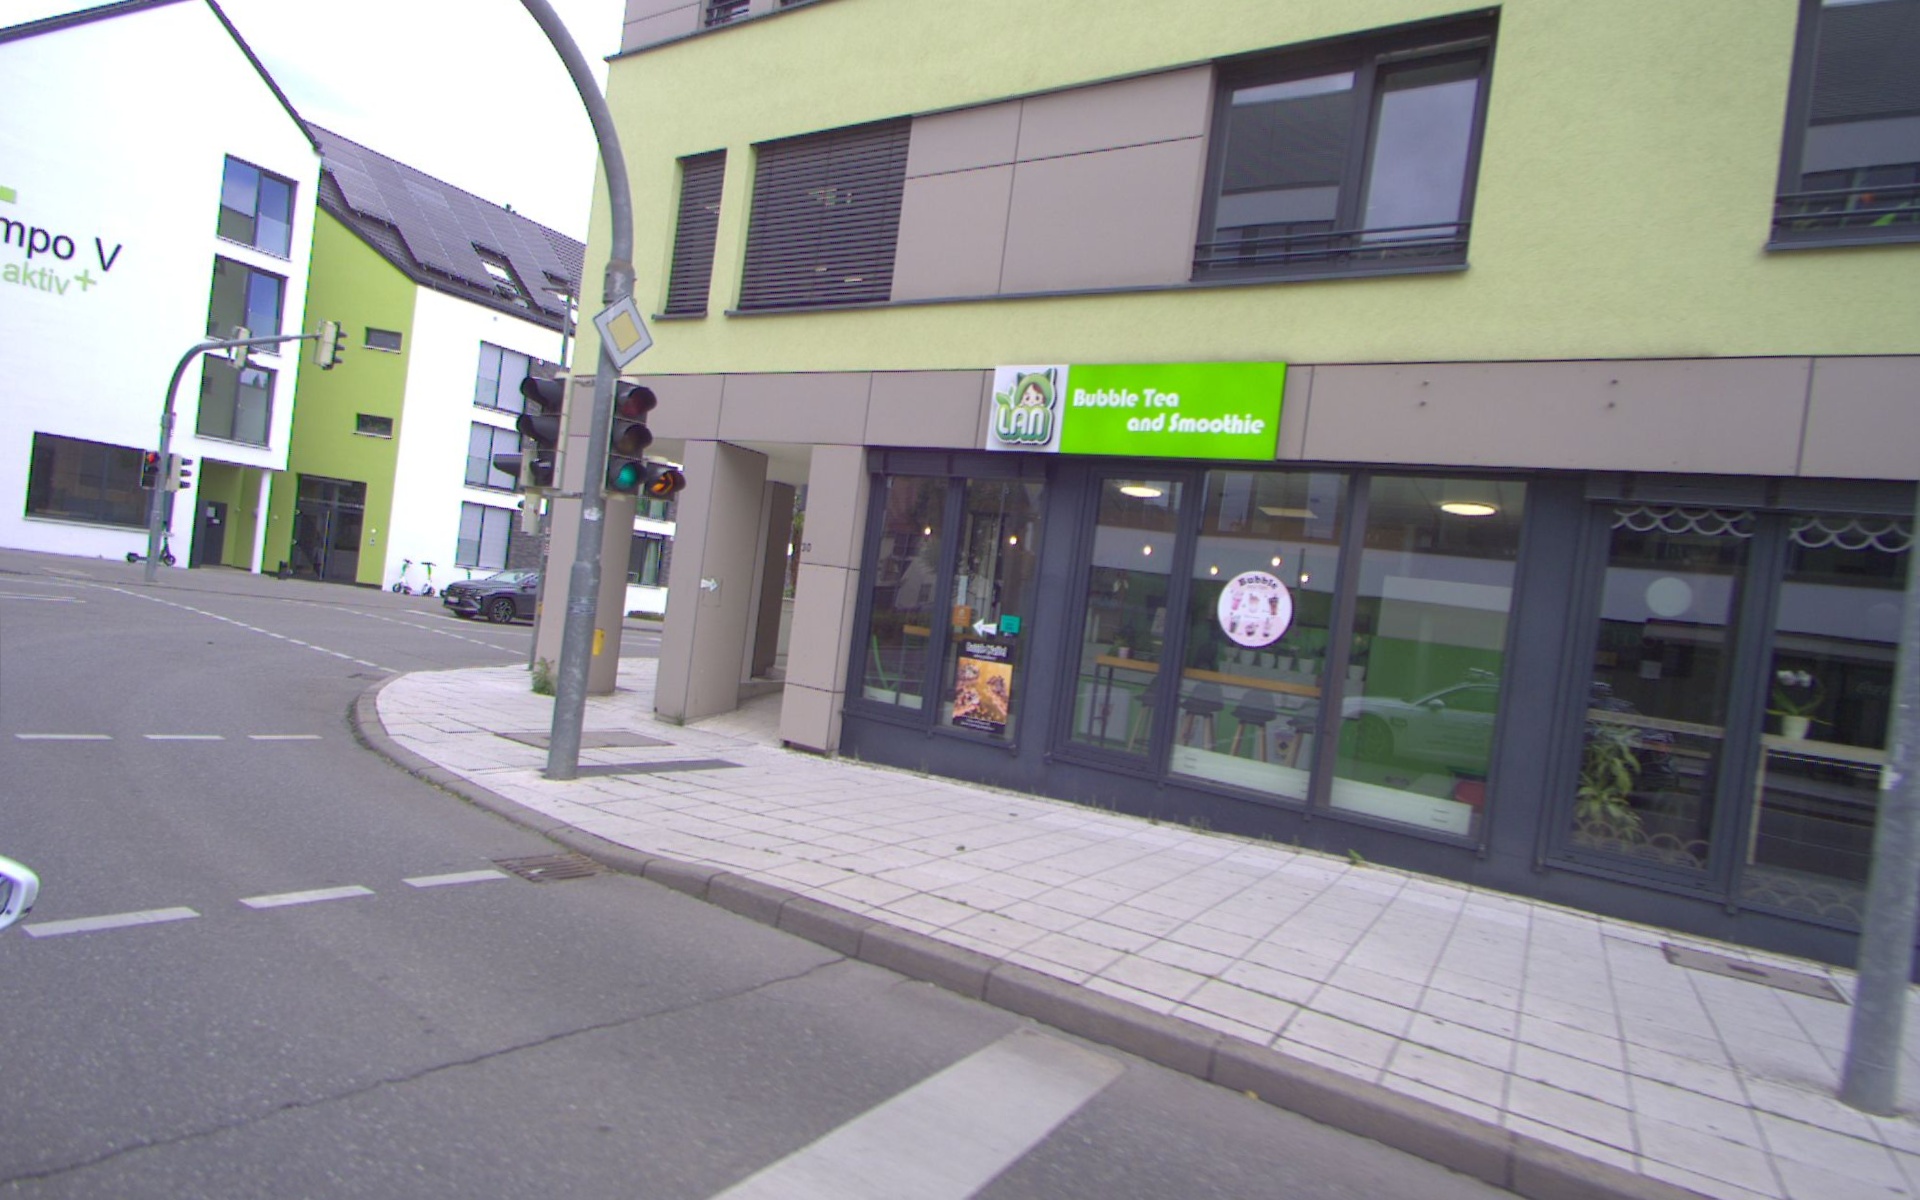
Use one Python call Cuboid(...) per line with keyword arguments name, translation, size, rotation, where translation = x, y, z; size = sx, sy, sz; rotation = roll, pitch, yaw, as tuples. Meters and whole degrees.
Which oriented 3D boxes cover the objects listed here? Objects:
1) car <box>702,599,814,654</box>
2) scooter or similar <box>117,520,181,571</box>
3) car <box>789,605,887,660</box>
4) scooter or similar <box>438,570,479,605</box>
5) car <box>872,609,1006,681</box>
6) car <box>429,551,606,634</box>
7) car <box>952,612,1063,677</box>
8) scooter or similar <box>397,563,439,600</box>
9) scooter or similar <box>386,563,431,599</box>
Cuboid(name="car", translation=(-8.163, 1.121, 41.095), size=(1.778, 1.648, 4.420), rotation=(7, -3, 32))
Cuboid(name="scooter or similar", translation=(-23.156, -1.546, 28.734), size=(0.400, 1.249, 1.233), rotation=(7, -2, 32))
Cuboid(name="car", translation=(-5.517, 1.524, 46.001), size=(1.778, 1.946, 4.628), rotation=(7, -3, 32))
Cuboid(name="scooter or similar", translation=(-17.997, -0.445, 36.137), size=(0.358, 1.091, 1.175), rotation=(7, -2, 35))
Cuboid(name="car", translation=(-0.542, 1.405, 30.405), size=(1.936, 1.633, 4.423), rotation=(7, -3, 29))
Cuboid(name="car", translation=(-12.498, -0.167, 28.636), size=(1.920, 1.677, 4.097), rotation=(7, -3, 32))
Cuboid(name="car", translation=(1.721, 1.586, 34.821), size=(1.936, 1.679, 4.423), rotation=(7, -3, 29))
Cuboid(name="scooter or similar", translation=(-18.532, -0.620, 34.420), size=(0.357, 1.091, 1.233), rotation=(7, -2, 20))
Cuboid(name="scooter or similar", translation=(-19.129, -0.657, 34.920), size=(0.358, 1.091, 1.229), rotation=(7, -2, 38))
